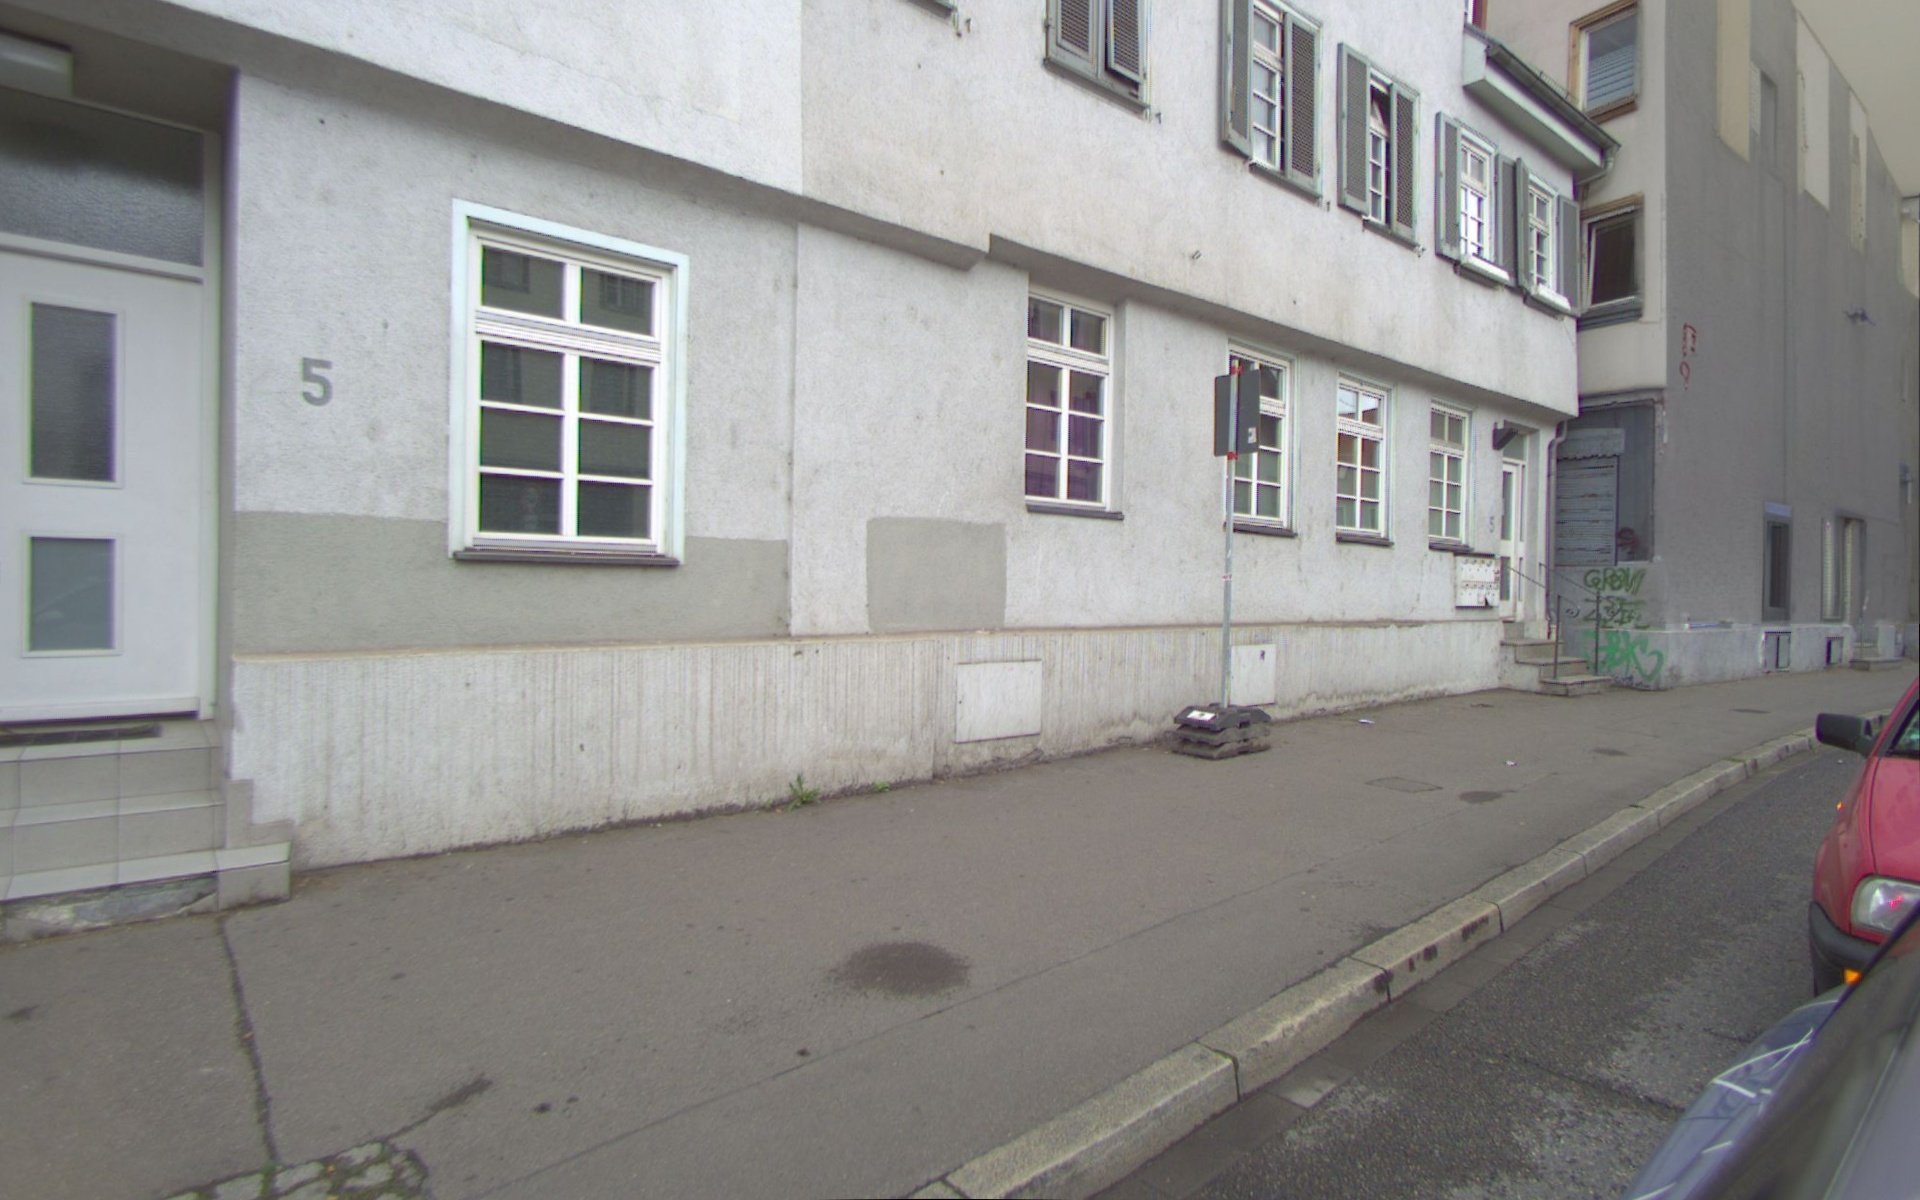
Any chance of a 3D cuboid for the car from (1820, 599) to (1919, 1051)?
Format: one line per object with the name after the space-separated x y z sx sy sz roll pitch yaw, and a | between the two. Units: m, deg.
5.070 0.734 4.105 3.930 1.485 1.802 0 -2 -41 | car
